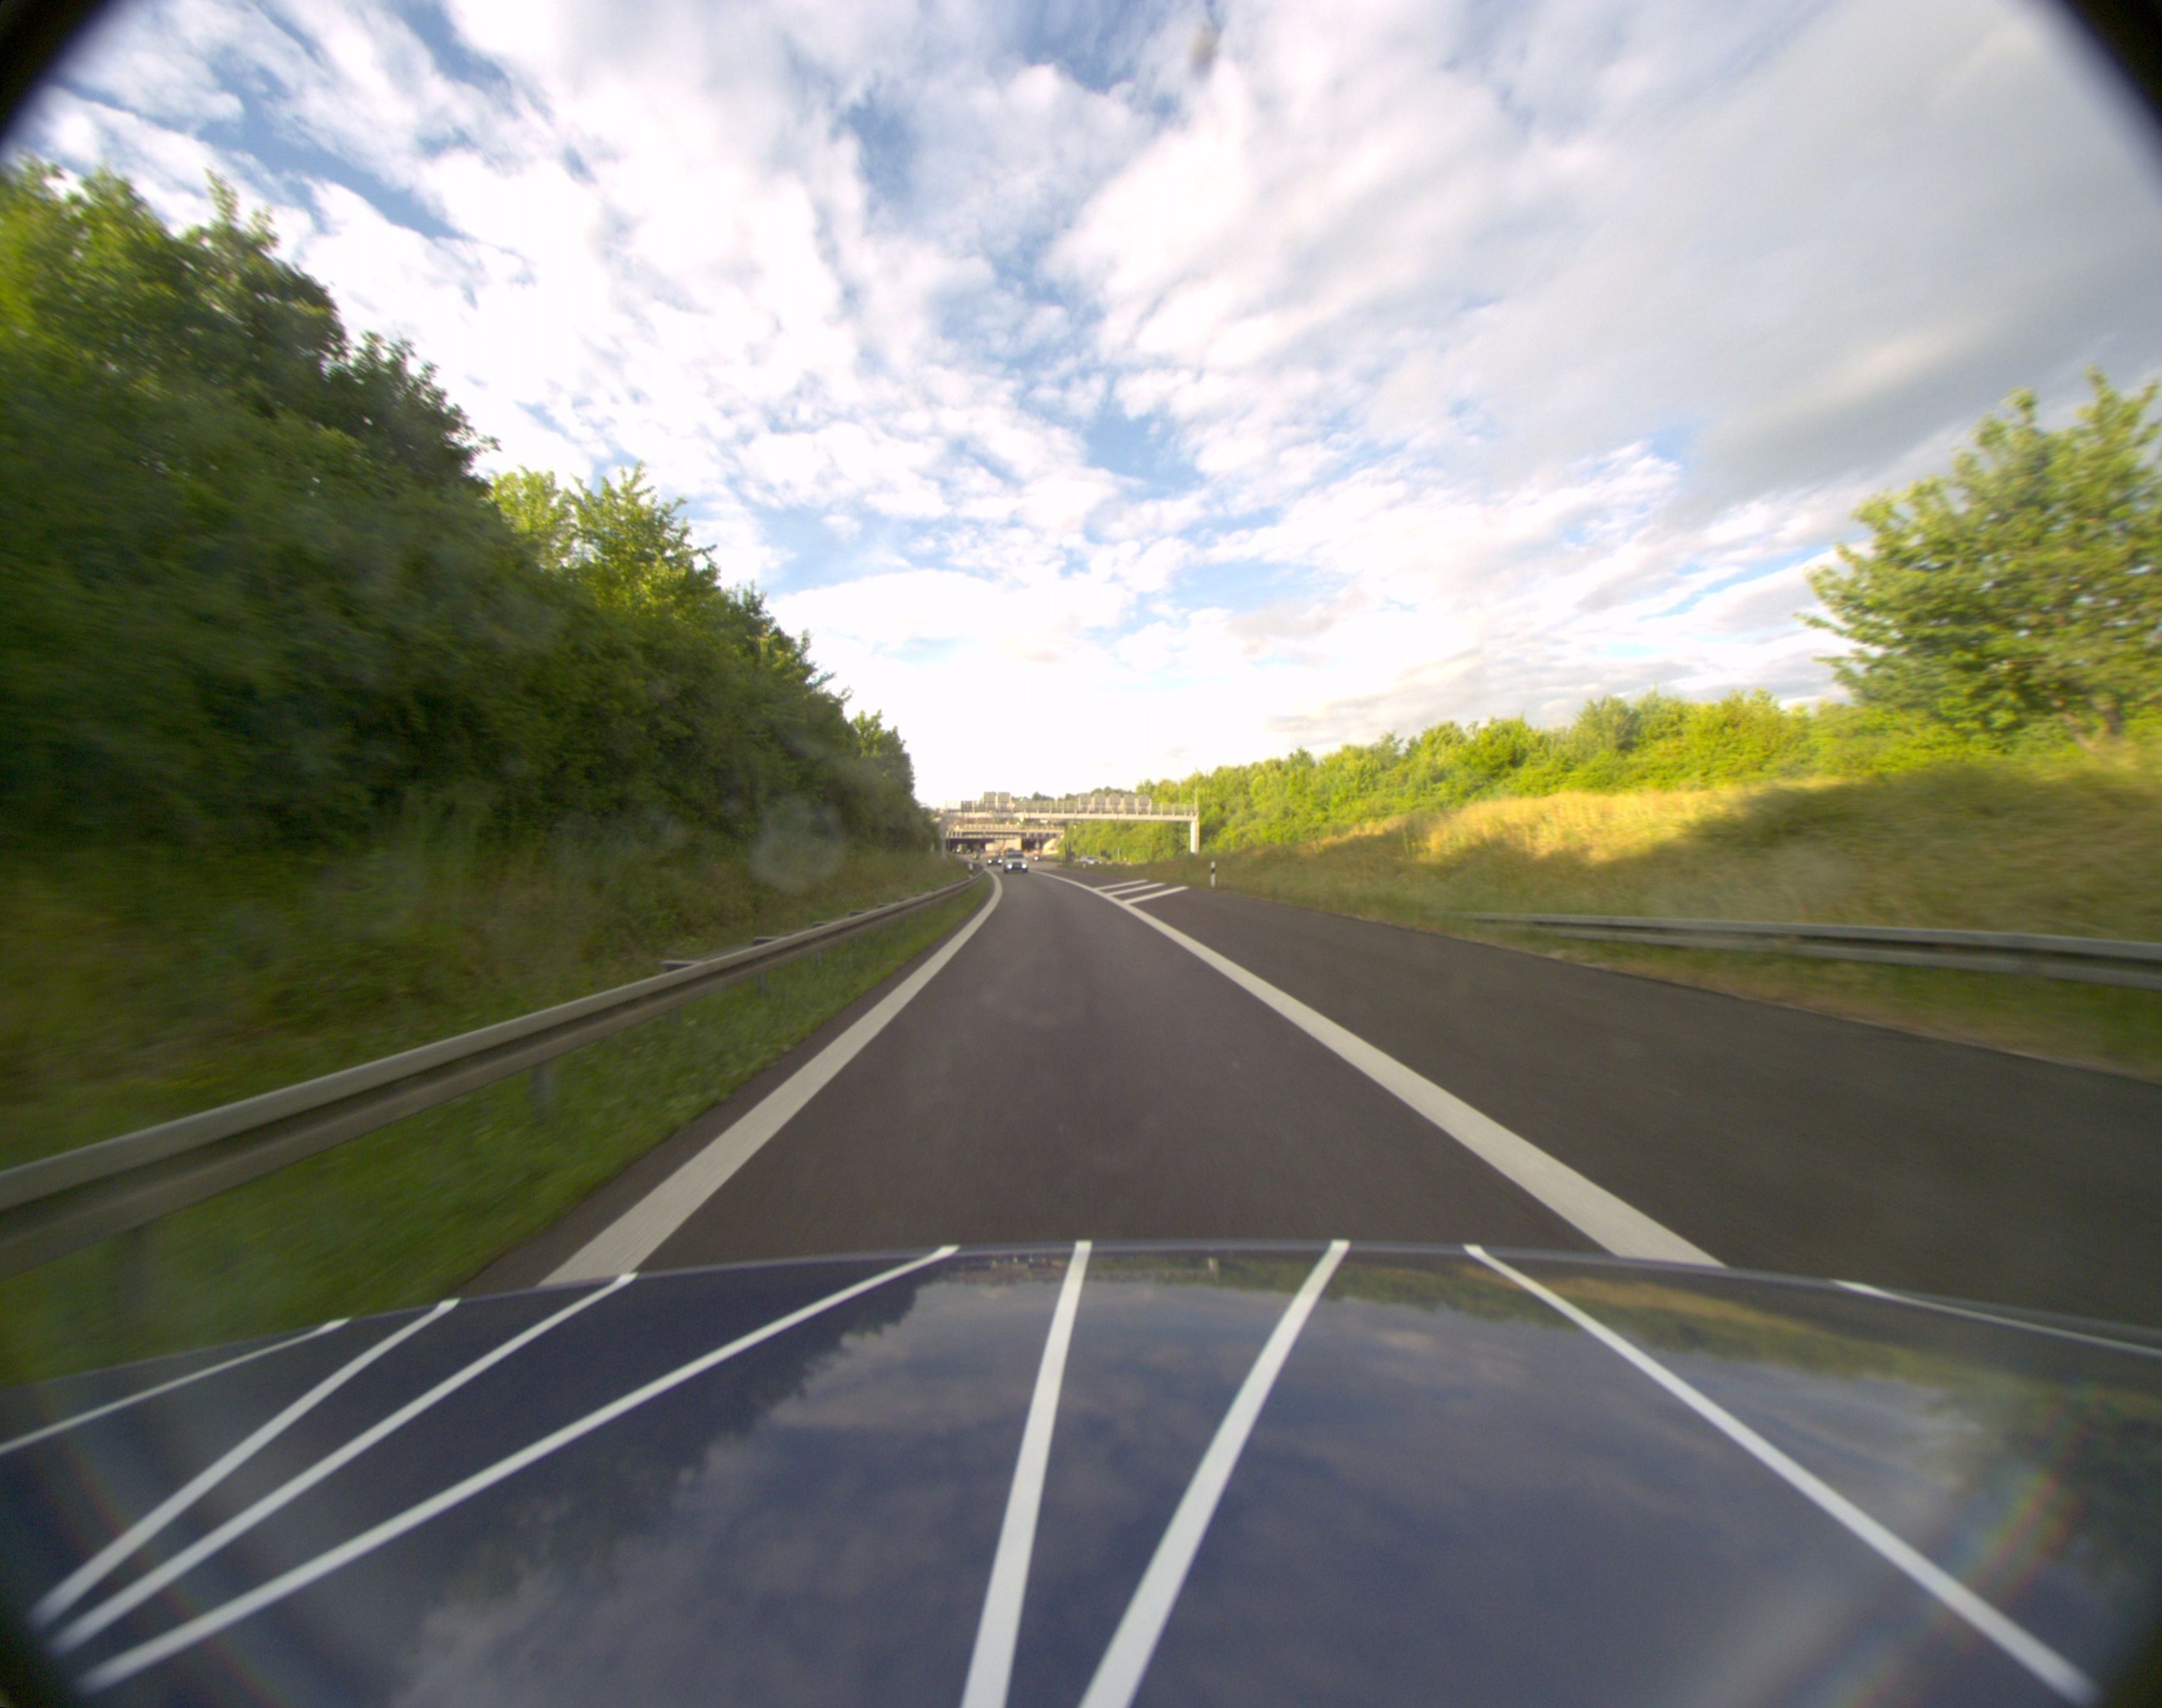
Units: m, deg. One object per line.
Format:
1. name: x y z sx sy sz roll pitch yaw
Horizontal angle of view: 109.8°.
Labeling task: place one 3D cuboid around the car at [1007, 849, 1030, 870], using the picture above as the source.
1. car: -5.296 0.458 64.695 1.905 1.655 3.998 -1 1 -4

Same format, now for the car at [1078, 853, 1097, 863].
1. car: 0.850 0.488 100.556 1.799 1.284 3.996 0 1 -9

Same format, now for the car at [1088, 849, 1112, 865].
1. car: 2.349 0.375 95.486 1.867 2.002 3.995 -2 0 -15

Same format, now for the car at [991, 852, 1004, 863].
1. car: -11.090 0.479 100.739 1.621 1.451 3.660 -1 0 -8
